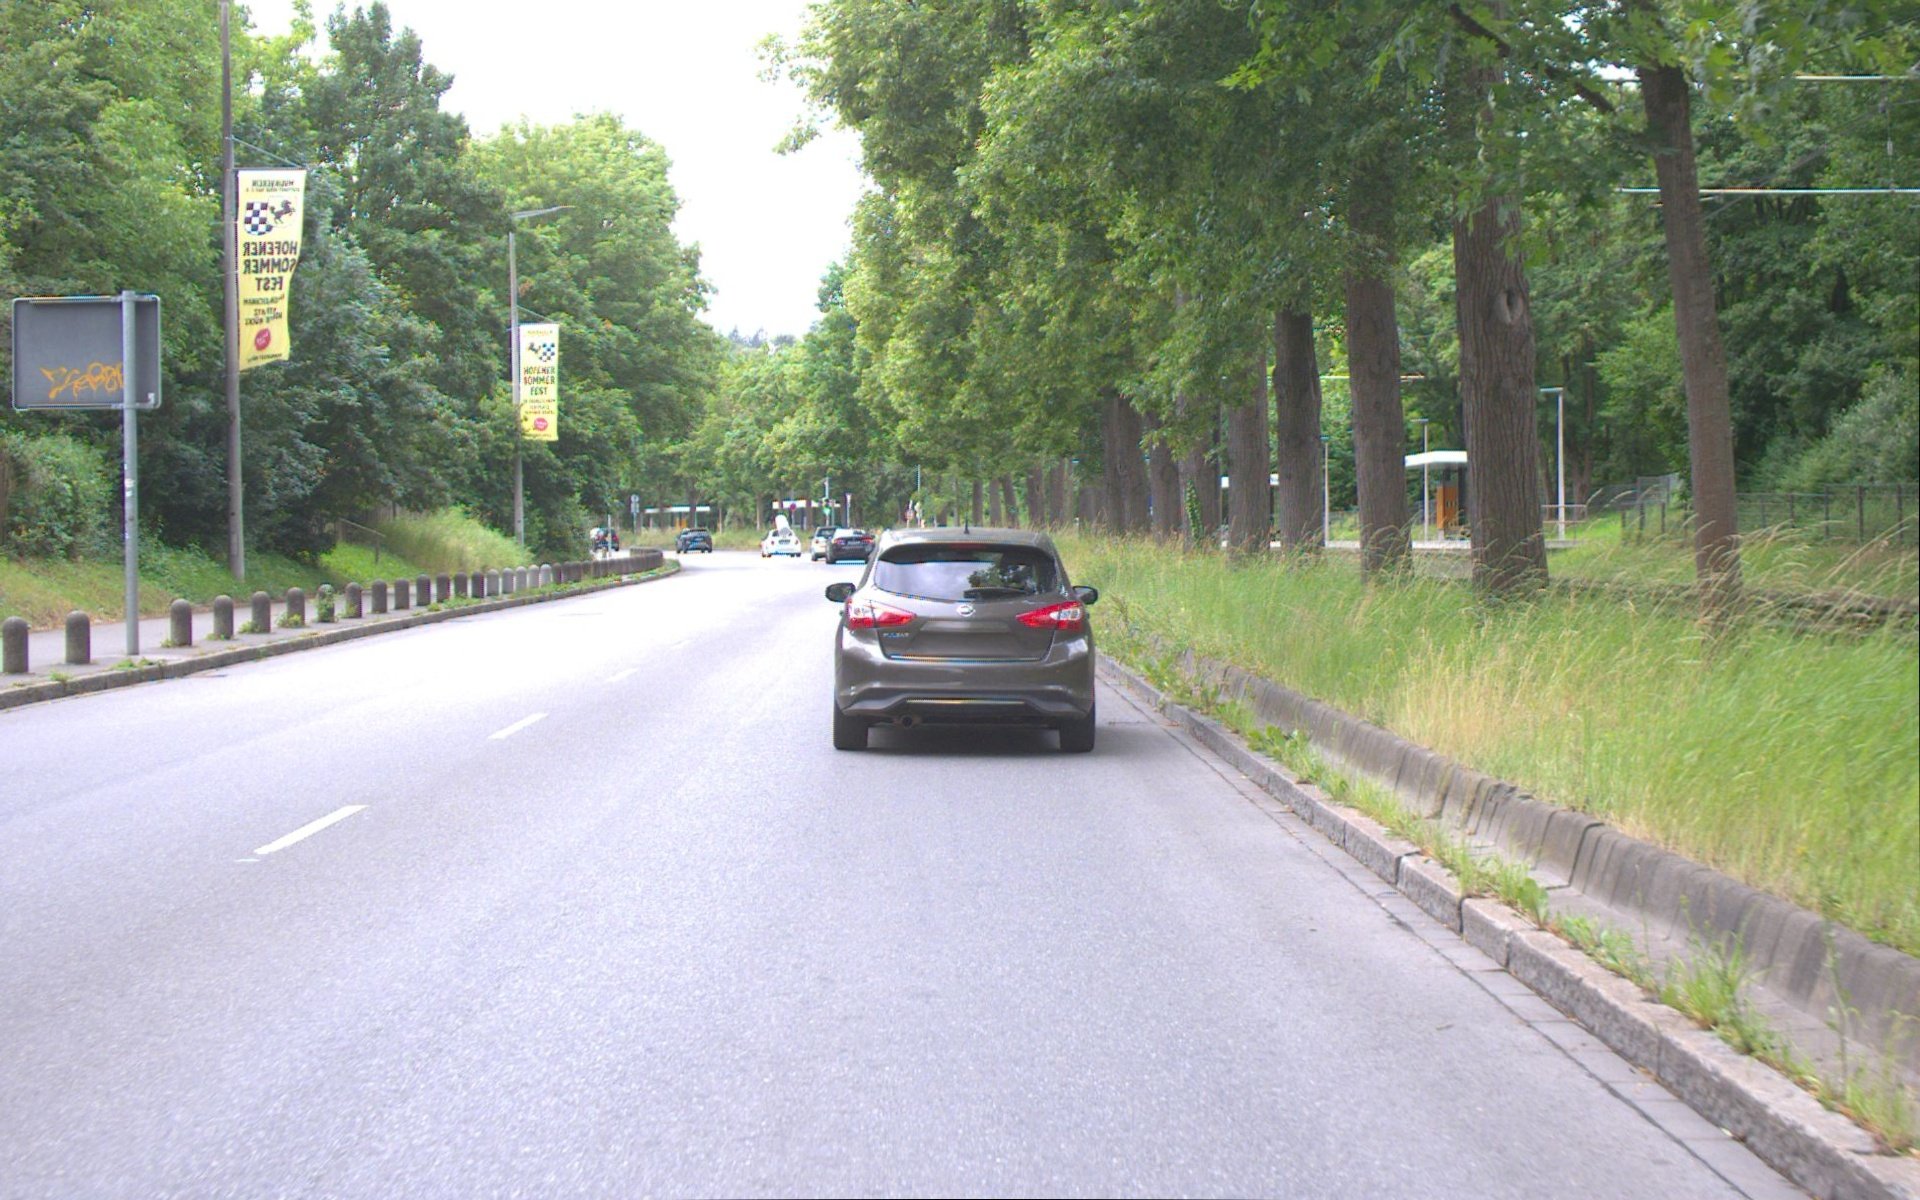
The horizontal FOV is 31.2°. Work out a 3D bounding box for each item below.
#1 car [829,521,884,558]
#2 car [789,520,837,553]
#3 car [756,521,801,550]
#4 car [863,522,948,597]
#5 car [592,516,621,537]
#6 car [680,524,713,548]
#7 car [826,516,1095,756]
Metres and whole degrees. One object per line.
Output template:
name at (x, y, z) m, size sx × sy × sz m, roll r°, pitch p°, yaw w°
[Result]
car at (-4.151, -2.429, 137.237) m, size 1.561 × 1.436 × 3.553 m, roll 1°, pitch 1°, yaw -12°
car at (-6.583, -2.844, 153.605) m, size 1.561 × 1.436 × 3.553 m, roll 1°, pitch 1°, yaw -12°
car at (-9.265, -3.294, 175.444) m, size 1.561 × 1.436 × 3.553 m, roll 1°, pitch 1°, yaw -15°
car at (-1.185, -0.886, 73.266) m, size 1.730 × 1.532 × 3.552 m, roll 1°, pitch 1°, yaw -2°
car at (-25.058, -5.186, 243.865) m, size 1.561 × 1.436 × 3.553 m, roll 1°, pitch 1°, yaw -13°
car at (-16.123, -3.925, 210.180) m, size 1.561 × 1.436 × 3.553 m, roll 1°, pitch 1°, yaw -11°
car at (-0.041, 0.194, 24.207) m, size 1.730 × 1.532 × 3.552 m, roll 1°, pitch 1°, yaw -2°
